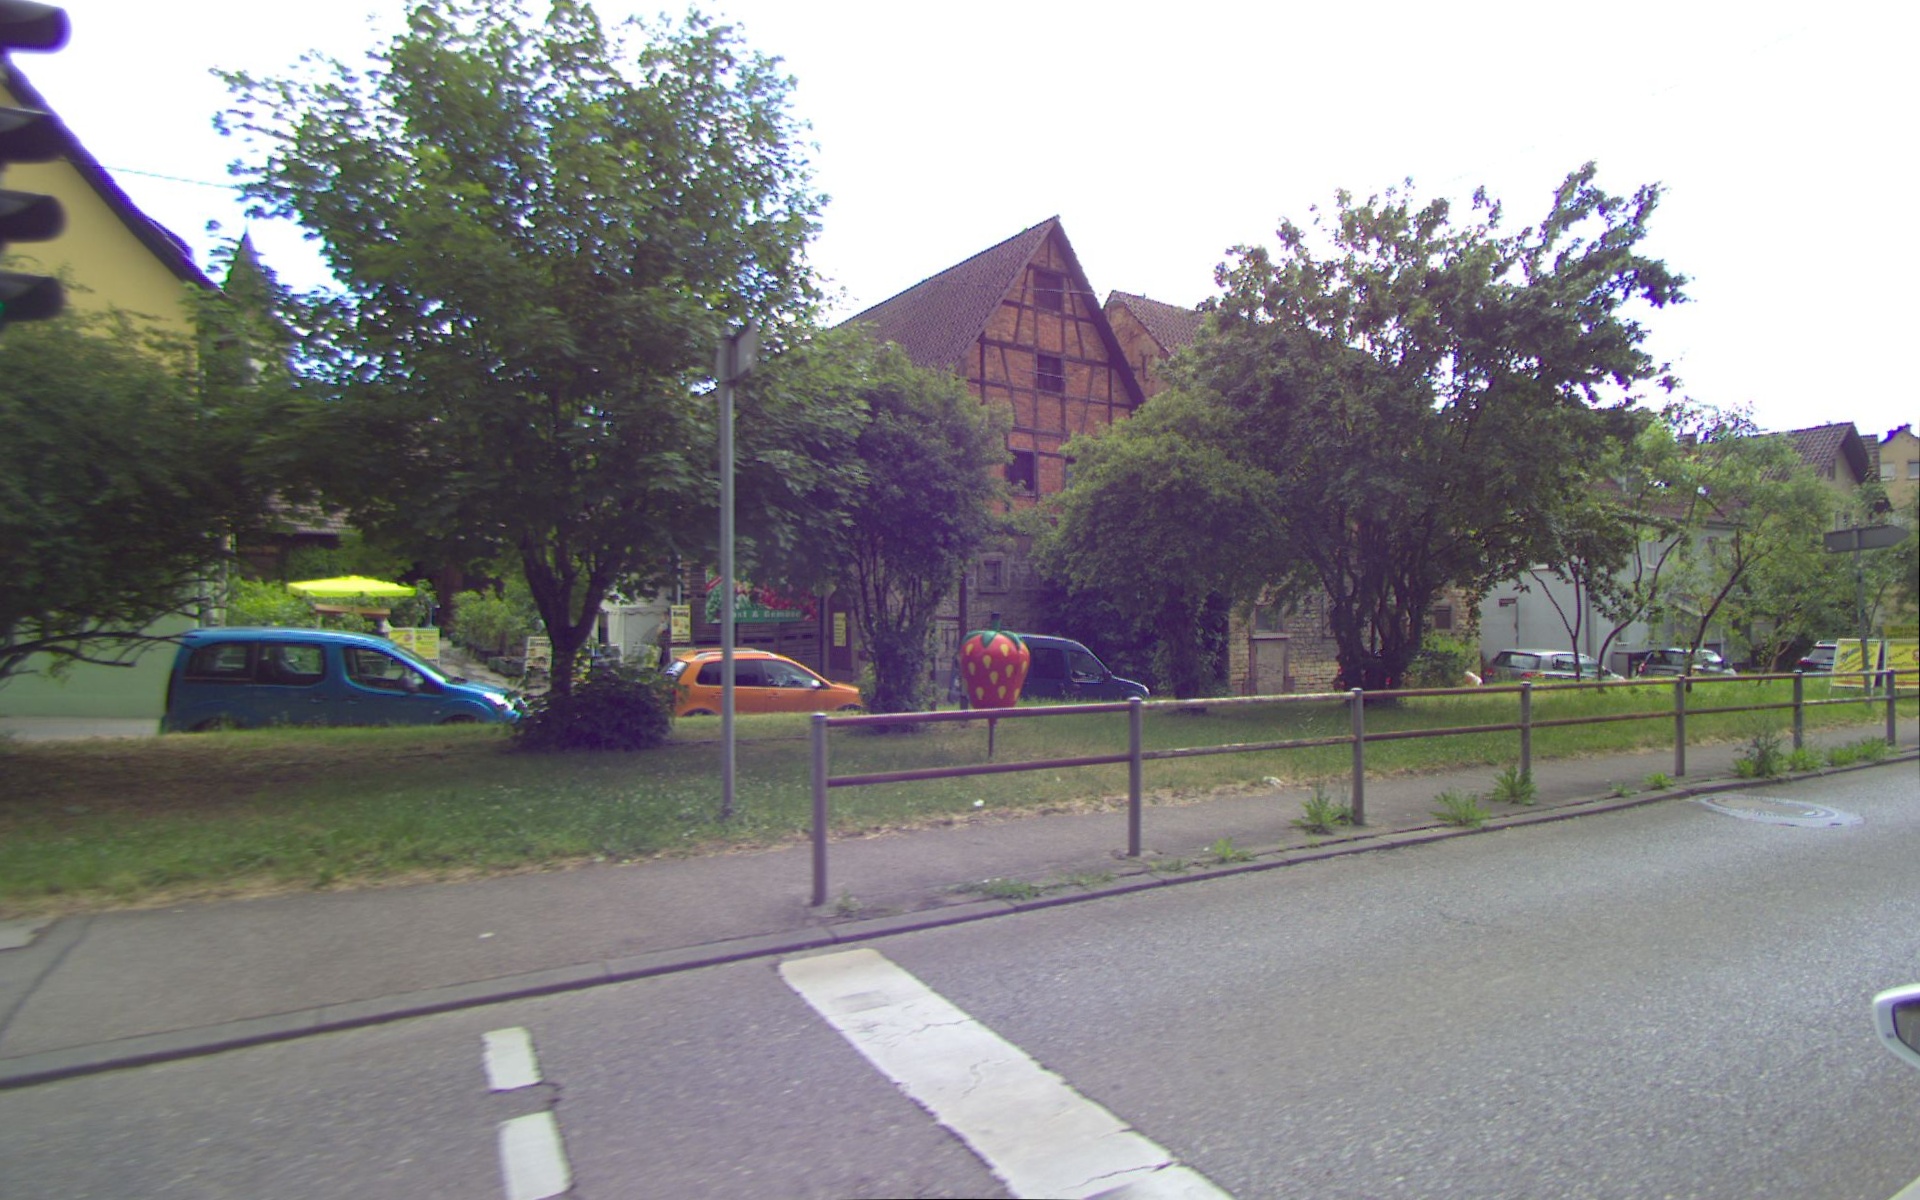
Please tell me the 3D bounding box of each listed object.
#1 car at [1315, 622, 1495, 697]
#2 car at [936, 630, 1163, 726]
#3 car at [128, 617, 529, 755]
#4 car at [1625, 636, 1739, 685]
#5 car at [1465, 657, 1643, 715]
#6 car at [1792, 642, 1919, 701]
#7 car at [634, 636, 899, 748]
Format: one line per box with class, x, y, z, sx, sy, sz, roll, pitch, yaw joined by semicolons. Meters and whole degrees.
car;10.471;1.370;23.612;3.949;1.639;1.805;1;-3;-28
car;1.700;1.410;18.992;3.949;1.639;1.805;1;-3;-28
car;-8.437;1.103;13.914;4.392;1.639;1.986;1;-3;-28
car;20.330;1.686;28.305;2.519;1.294;1.549;1;-3;-25
car;15.083;2.128;25.517;3.945;1.294;1.989;1;-3;-25
car;28.484;2.215;31.690;3.945;1.717;1.916;1;-3;-25
car;-3.194;1.433;16.624;3.949;1.639;1.941;1;-3;-28
